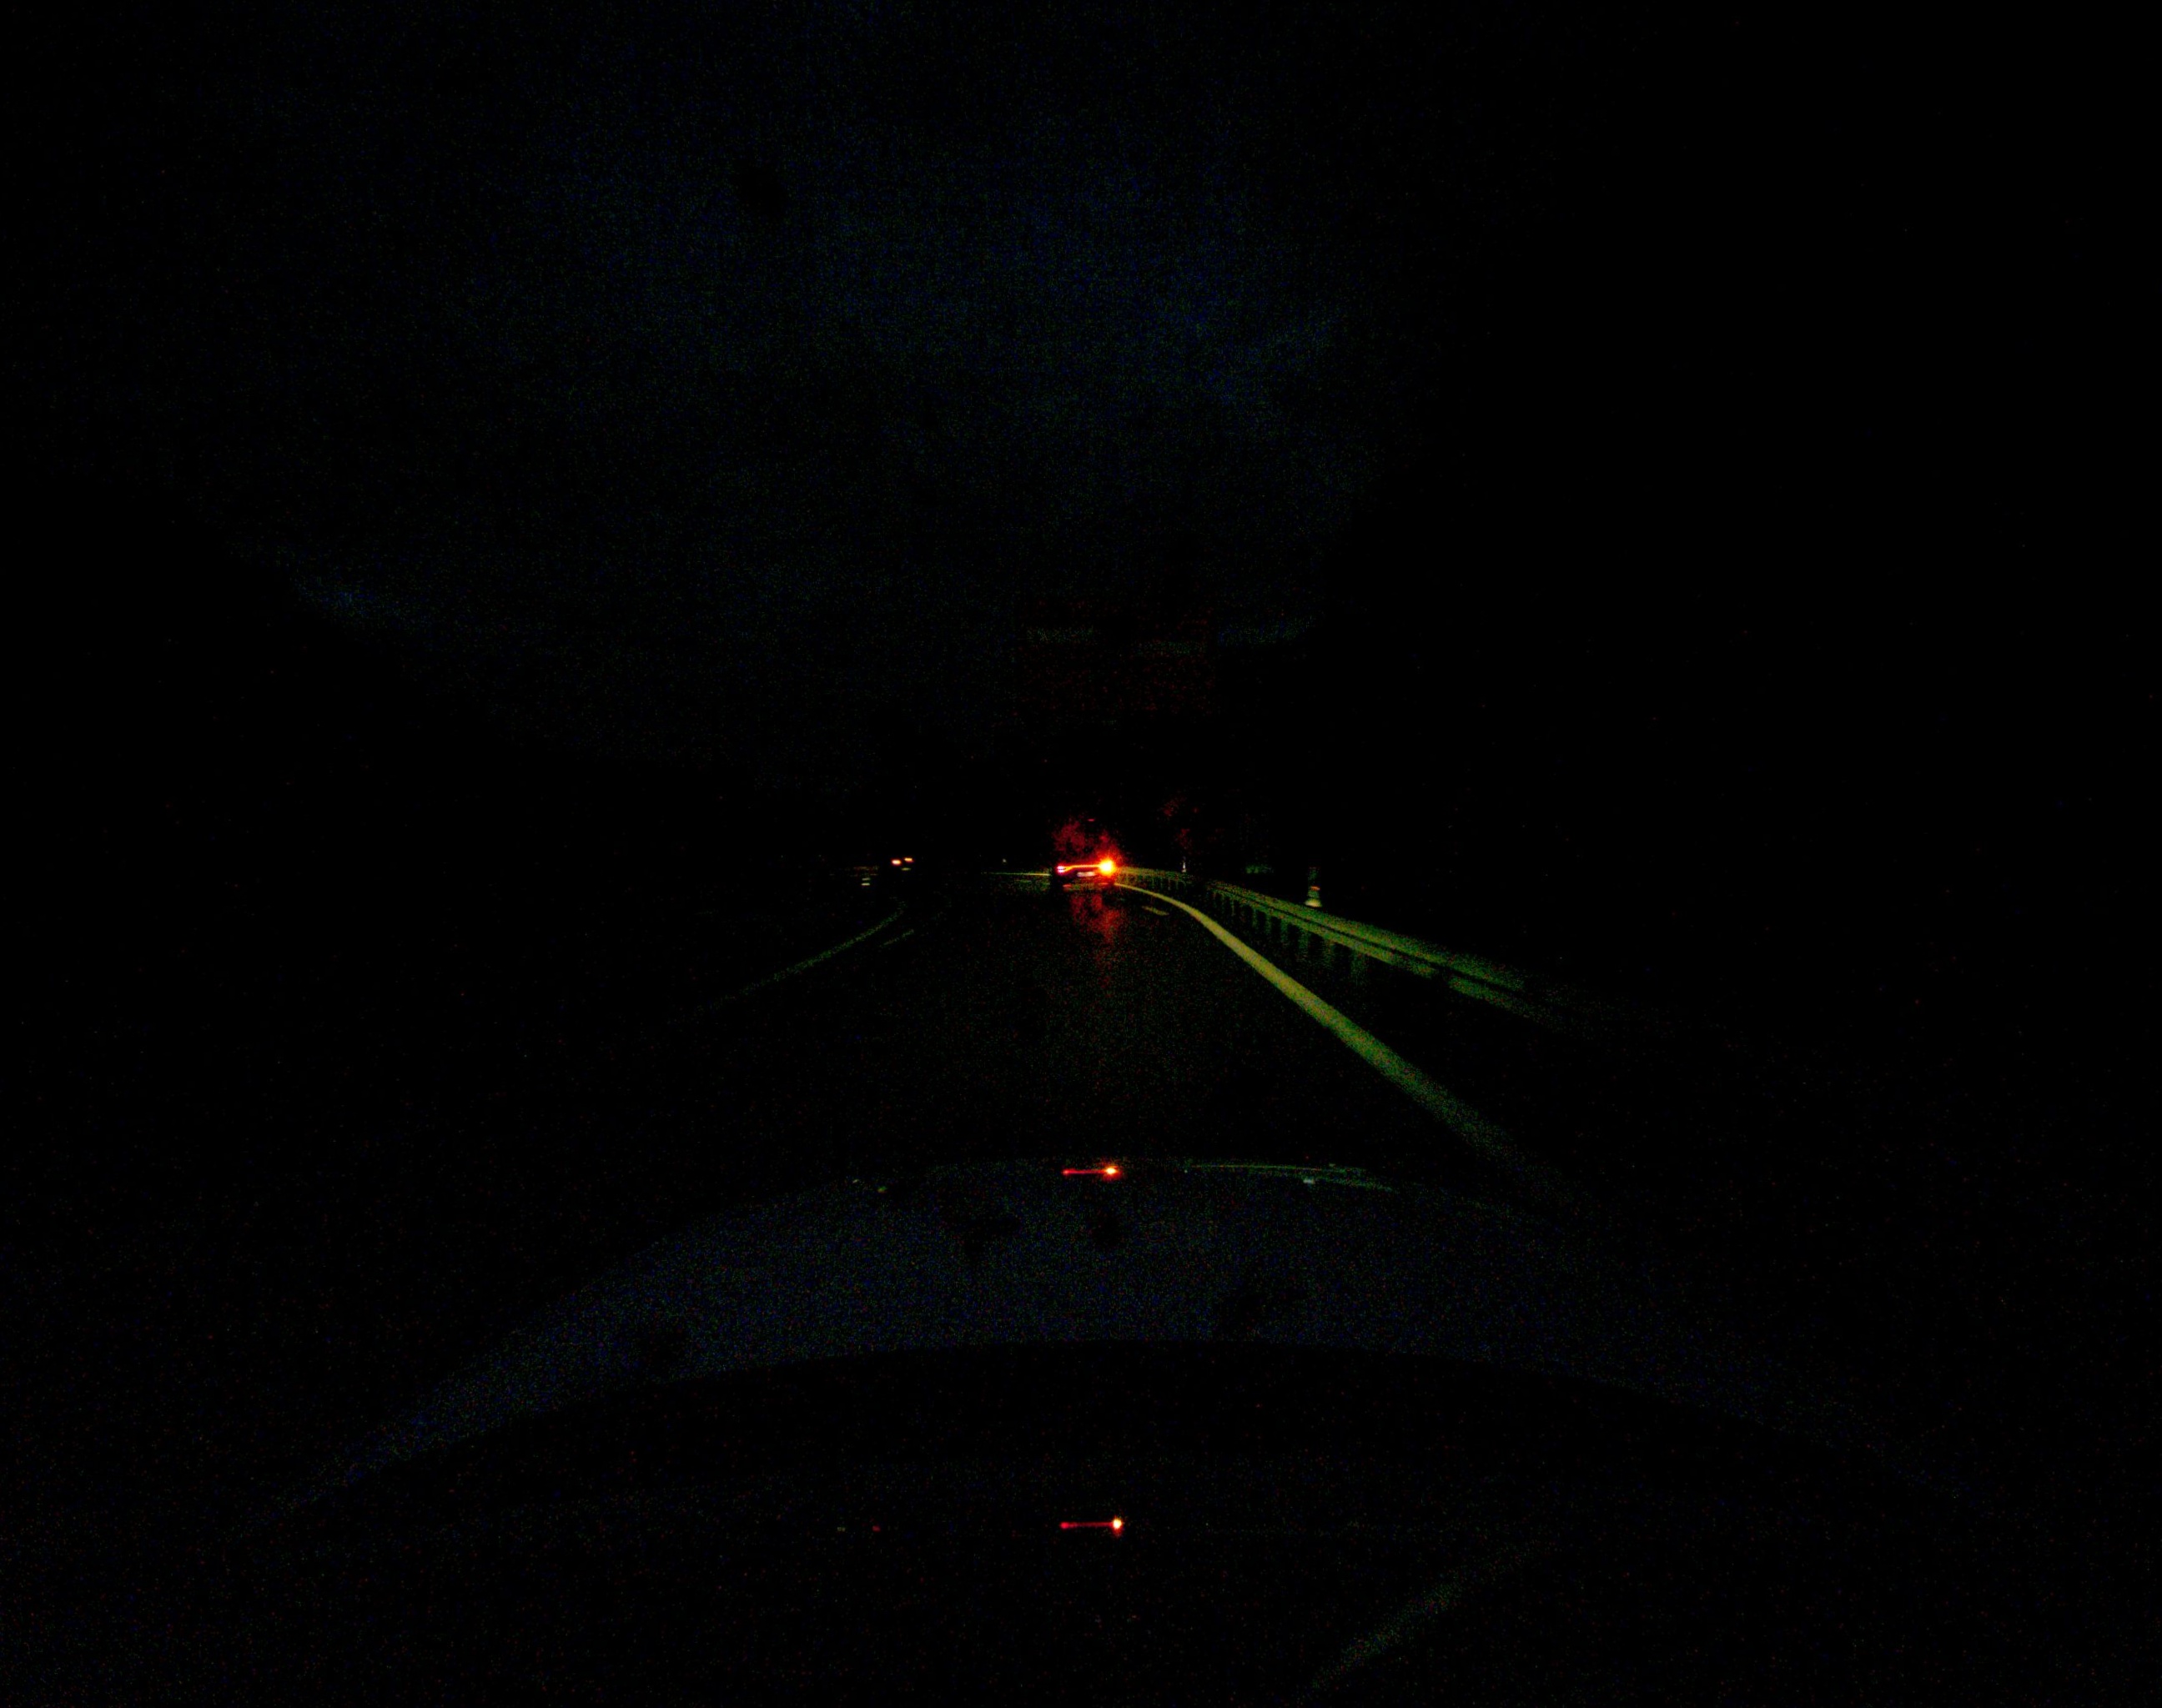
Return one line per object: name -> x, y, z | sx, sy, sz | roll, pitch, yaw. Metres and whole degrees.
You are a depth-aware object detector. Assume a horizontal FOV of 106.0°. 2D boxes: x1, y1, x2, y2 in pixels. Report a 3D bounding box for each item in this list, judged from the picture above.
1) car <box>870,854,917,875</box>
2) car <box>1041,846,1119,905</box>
car -> -15.234, 0.813, 66.065 | 2.011, 1.598, 3.952 | 1, 0, -43
car -> -0.131, 0.613, 26.001 | 1.991, 1.659, 4.305 | -2, 0, -6
